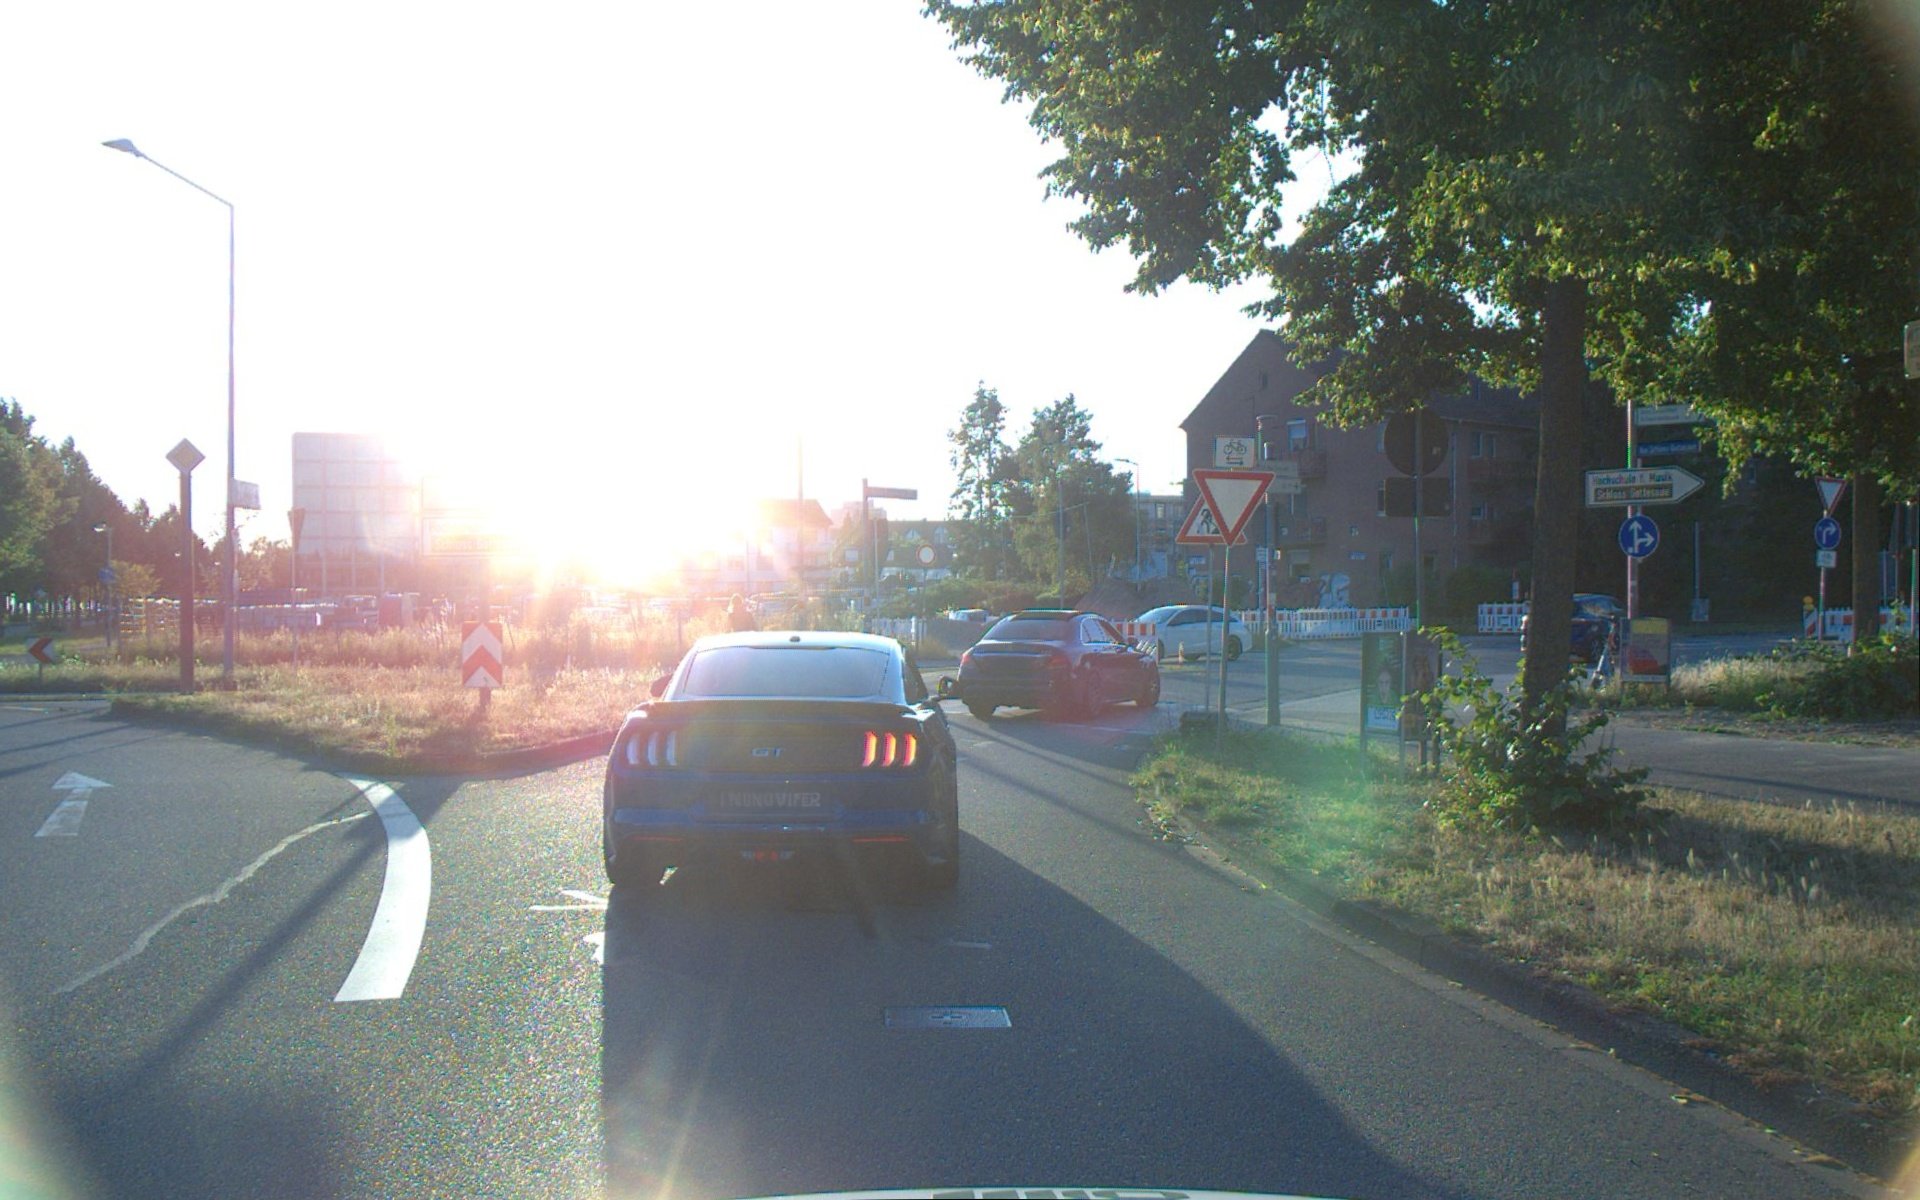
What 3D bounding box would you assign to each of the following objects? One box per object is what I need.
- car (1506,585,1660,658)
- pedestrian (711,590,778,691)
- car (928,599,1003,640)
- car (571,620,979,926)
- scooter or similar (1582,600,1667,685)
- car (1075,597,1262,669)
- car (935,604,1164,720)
[{"bbox_3d":[15.523,0.494,41.127,4.041,1.630,1.929,-2,2,-41],"label":"car"},{"bbox_3d":[-3.768,0.692,28.921,0.838,1.716,0.875,-1,0,-38],"label":"pedestrian"},{"bbox_3d":[0.218,0.839,73.358,1.967,1.736,3.972,-1,0,-23],"label":"car"},{"bbox_3d":[-0.929,0.843,10.126,1.912,1.365,4.669,0,0,-2],"label":"car"},{"bbox_3d":[10.053,0.637,25.035,1.097,1.260,0.442,0,0,-2],"label":"scooter or similar"},{"bbox_3d":[5.418,0.812,42.815,4.601,1.478,2.051,-4,4,-34],"label":"car"},{"bbox_3d":[1.390,0.806,23.584,1.911,1.452,4.429,-1,0,22],"label":"car"}]
